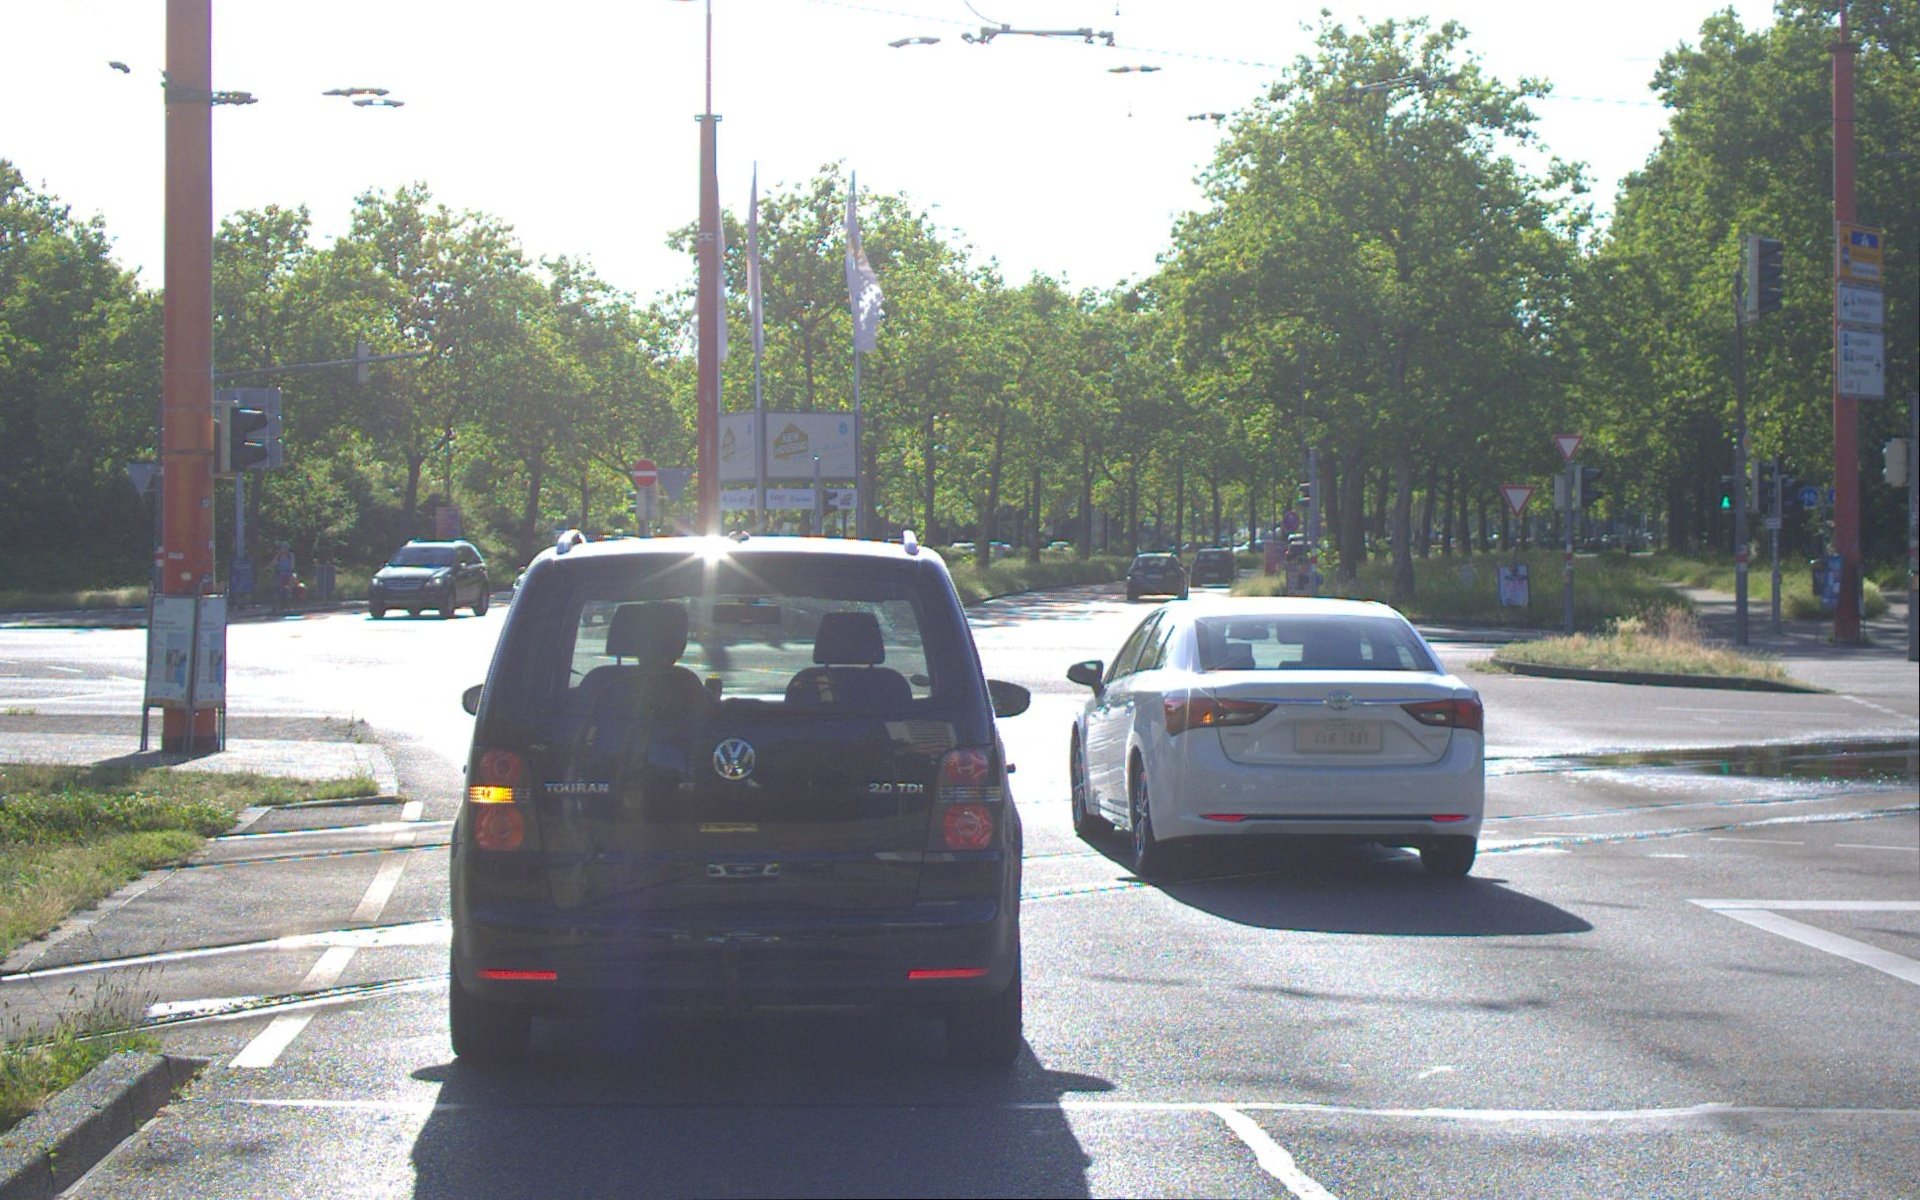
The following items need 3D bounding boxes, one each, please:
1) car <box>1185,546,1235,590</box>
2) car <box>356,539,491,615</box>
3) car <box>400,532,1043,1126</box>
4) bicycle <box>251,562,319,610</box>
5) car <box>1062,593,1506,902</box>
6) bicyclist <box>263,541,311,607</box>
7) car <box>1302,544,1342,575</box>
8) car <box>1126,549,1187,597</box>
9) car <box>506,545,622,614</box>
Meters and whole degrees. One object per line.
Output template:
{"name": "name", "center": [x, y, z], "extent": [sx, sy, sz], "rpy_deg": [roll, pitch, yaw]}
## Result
{"name": "car", "center": [9.784, -1.245, 134.256], "extent": [1.873, 1.621, 3.999], "rpy_deg": [2, 0, 5]}
{"name": "car", "center": [-12.676, -0.567, 81.526], "extent": [1.903, 1.720, 4.652], "rpy_deg": [1, 1, 8]}
{"name": "car", "center": [-0.767, 0.597, 11.983], "extent": [1.767, 1.638, 4.924], "rpy_deg": [0, 1, -3]}
{"name": "bicycle", "center": [-16.106, -0.339, 82.074], "extent": [0.764, 1.087, 2.014], "rpy_deg": [0, 2, 15]}
{"name": "car", "center": [1.671, 0.727, 19.202], "extent": [1.767, 1.459, 4.367], "rpy_deg": [0, 1, -4]}
{"name": "bicyclist", "center": [-16.085, -0.635, 82.146], "extent": [0.759, 1.552, 0.980], "rpy_deg": [0, 1, 15]}
{"name": "car", "center": [18.395, -2.050, 174.469], "extent": [1.790, 1.497, 4.048], "rpy_deg": [1, 1, 9]}
{"name": "car", "center": [6.052, -0.843, 105.773], "extent": [1.790, 1.383, 4.049], "rpy_deg": [1, 1, 3]}
{"name": "car", "center": [-9.134, -0.498, 79.544], "extent": [1.768, 1.533, 4.090], "rpy_deg": [1, 1, 7]}
